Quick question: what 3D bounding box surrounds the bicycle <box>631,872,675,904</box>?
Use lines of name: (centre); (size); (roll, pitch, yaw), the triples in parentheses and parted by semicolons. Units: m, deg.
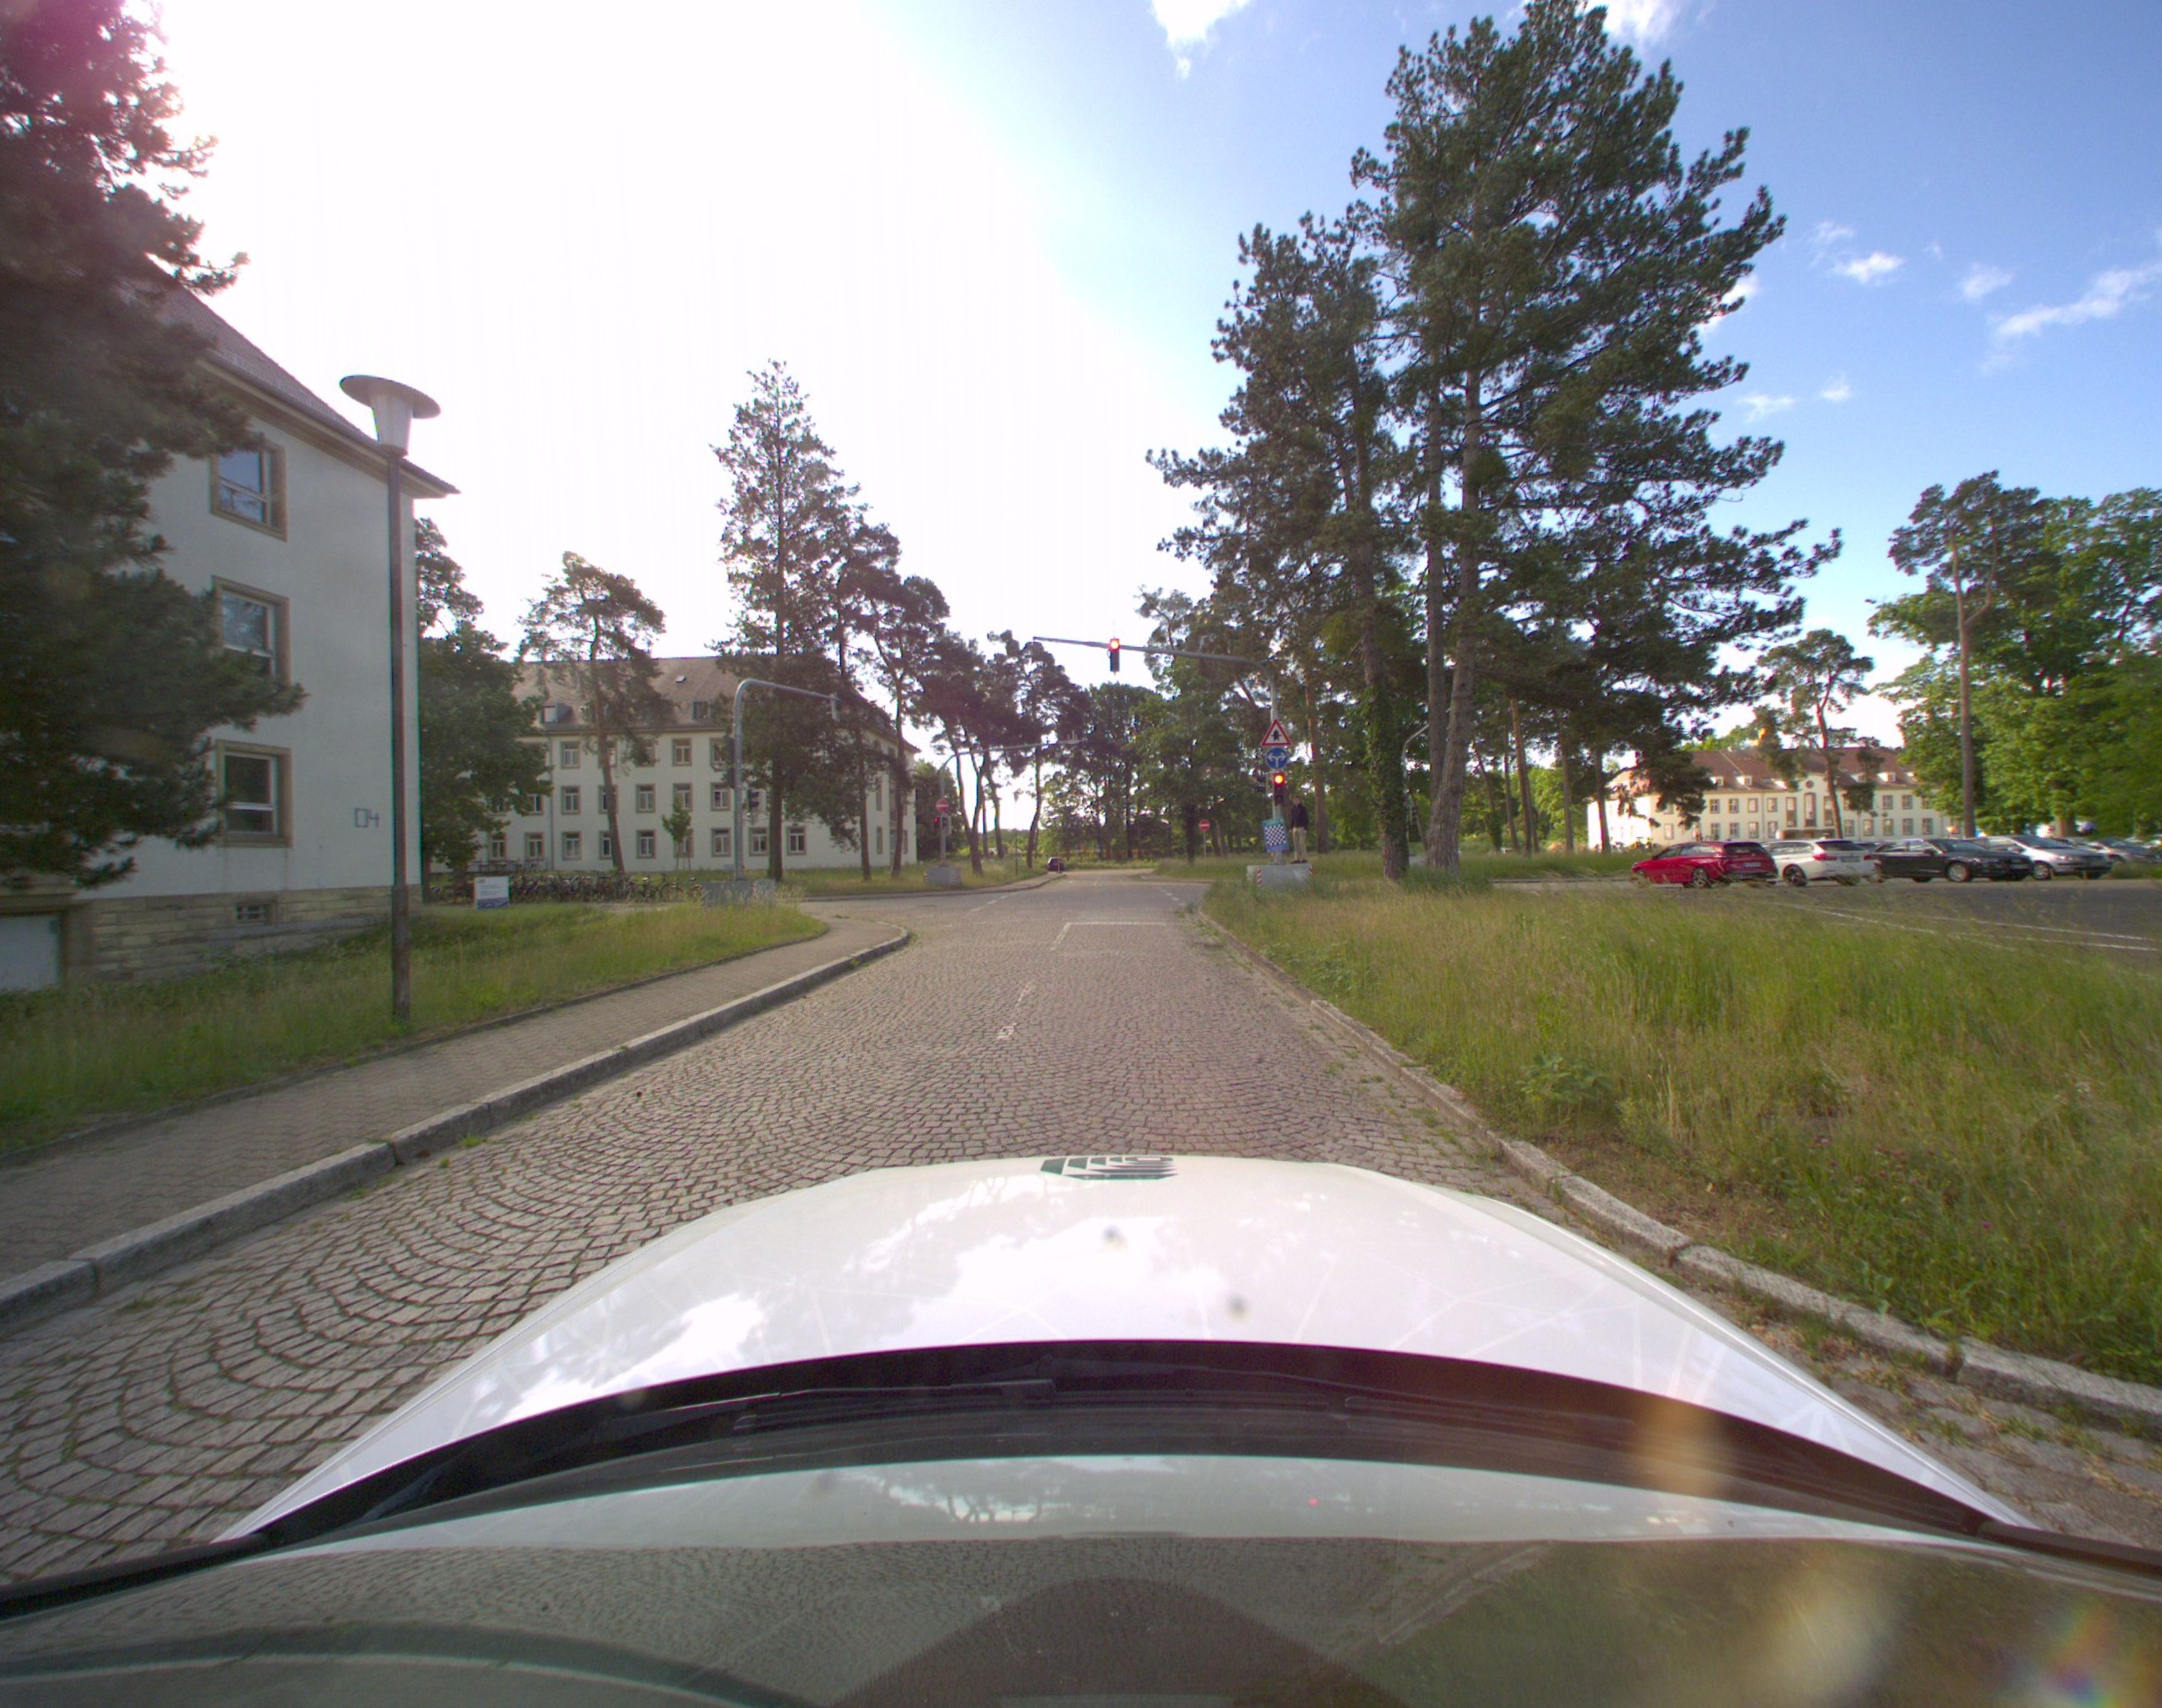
bicycle: (-17.473, 1.359, 33.296); (0.630, 1.220, 2.125); (-1, 0, 1)

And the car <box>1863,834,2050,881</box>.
car: (27.287, 0.103, 25.606); (1.610, 1.315, 4.047); (-2, 0, 3)

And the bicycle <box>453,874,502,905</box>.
bicycle: (-25.202, 1.474, 34.037); (0.512, 1.220, 1.938); (-1, 0, 2)

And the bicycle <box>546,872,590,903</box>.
bicycle: (-21.394, 1.374, 33.977); (0.512, 1.220, 1.977); (-1, 0, 2)

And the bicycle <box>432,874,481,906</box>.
bicycle: (-26.079, 1.477, 34.057); (0.512, 1.220, 1.938); (-1, 0, 2)

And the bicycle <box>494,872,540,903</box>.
bicycle: (-23.538, 1.376, 34.003); (0.512, 1.220, 1.938); (-1, 0, 2)

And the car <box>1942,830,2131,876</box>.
car: (30.140, -0.025, 25.886); (1.716, 1.372, 3.796); (0, 0, 4)

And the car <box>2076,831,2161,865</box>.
car: (47.908, -0.246, 36.420); (1.717, 1.468, 4.243); (0, 0, 2)

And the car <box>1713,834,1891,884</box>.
car: (22.178, 0.226, 25.314); (1.773, 1.379, 4.240); (-2, -2, 0)

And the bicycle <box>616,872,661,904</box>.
bicycle: (-18.077, 1.361, 33.312); (0.630, 1.220, 2.105); (-1, 0, 1)

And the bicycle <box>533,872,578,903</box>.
bicycle: (-21.912, 1.373, 33.979); (0.512, 1.220, 1.977); (-1, 0, 2)

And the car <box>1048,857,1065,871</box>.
car: (-2.708, 1.084, 89.614); (1.704, 1.496, 3.918); (-2, 0, 0)

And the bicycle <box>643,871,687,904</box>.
bicycle: (-16.989, 1.356, 33.297); (0.630, 1.220, 2.115); (-1, 0, 1)

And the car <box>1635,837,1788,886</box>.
car: (19.321, 0.258, 25.203); (1.649, 1.399, 4.131); (0, -1, 2)

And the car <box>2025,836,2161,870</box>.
car: (44.891, -0.044, 35.924); (1.717, 1.425, 4.243); (0, 0, 2)

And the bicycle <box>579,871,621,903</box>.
bicycle: (-20.224, 1.370, 34.282); (0.546, 1.220, 1.900); (-1, 0, 1)

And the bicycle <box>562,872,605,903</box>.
bicycle: (-20.745, 1.372, 34.014); (0.512, 1.220, 2.016); (-1, 0, 2)

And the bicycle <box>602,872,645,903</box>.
bicycle: (-18.921, 1.364, 33.710); (0.570, 1.220, 1.990); (-1, 0, 1)

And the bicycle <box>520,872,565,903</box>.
bicycle: (-22.438, 1.372, 33.954); (0.512, 1.220, 1.955); (-1, 0, 2)

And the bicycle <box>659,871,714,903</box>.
bicycle: (-15.755, 1.306, 32.519); (1.855, 1.220, 0.635); (-1, 0, 1)

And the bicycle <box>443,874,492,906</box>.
bicycle: (-25.631, 1.476, 34.044); (0.512, 1.220, 1.938); (-1, 0, 2)

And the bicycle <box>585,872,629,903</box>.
bicycle: (-19.664, 1.369, 33.851); (0.576, 1.220, 2.030); (-1, 0, 1)

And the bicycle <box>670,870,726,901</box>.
bicycle: (-15.631, 1.285, 33.231); (1.937, 1.220, 0.635); (-1, 0, 1)

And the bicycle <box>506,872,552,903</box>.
bicycle: (-22.993, 1.374, 33.973); (0.512, 1.220, 1.938); (-1, 0, 2)

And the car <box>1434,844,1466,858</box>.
car: (42.760, -0.372, 94.435); (1.820, 1.582, 4.164); (-1, 0, 2)

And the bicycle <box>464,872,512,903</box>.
bicycle: (-24.741, 1.381, 34.028); (0.512, 1.220, 1.938); (-1, 0, 2)

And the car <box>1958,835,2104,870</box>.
car: (42.519, -0.068, 36.613); (1.717, 1.493, 4.243); (0, 0, 2)

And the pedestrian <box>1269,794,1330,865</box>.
pedestrian: (5.813, -0.633, 21.680); (1.157, 1.796, 1.069); (-2, 0, 43)
